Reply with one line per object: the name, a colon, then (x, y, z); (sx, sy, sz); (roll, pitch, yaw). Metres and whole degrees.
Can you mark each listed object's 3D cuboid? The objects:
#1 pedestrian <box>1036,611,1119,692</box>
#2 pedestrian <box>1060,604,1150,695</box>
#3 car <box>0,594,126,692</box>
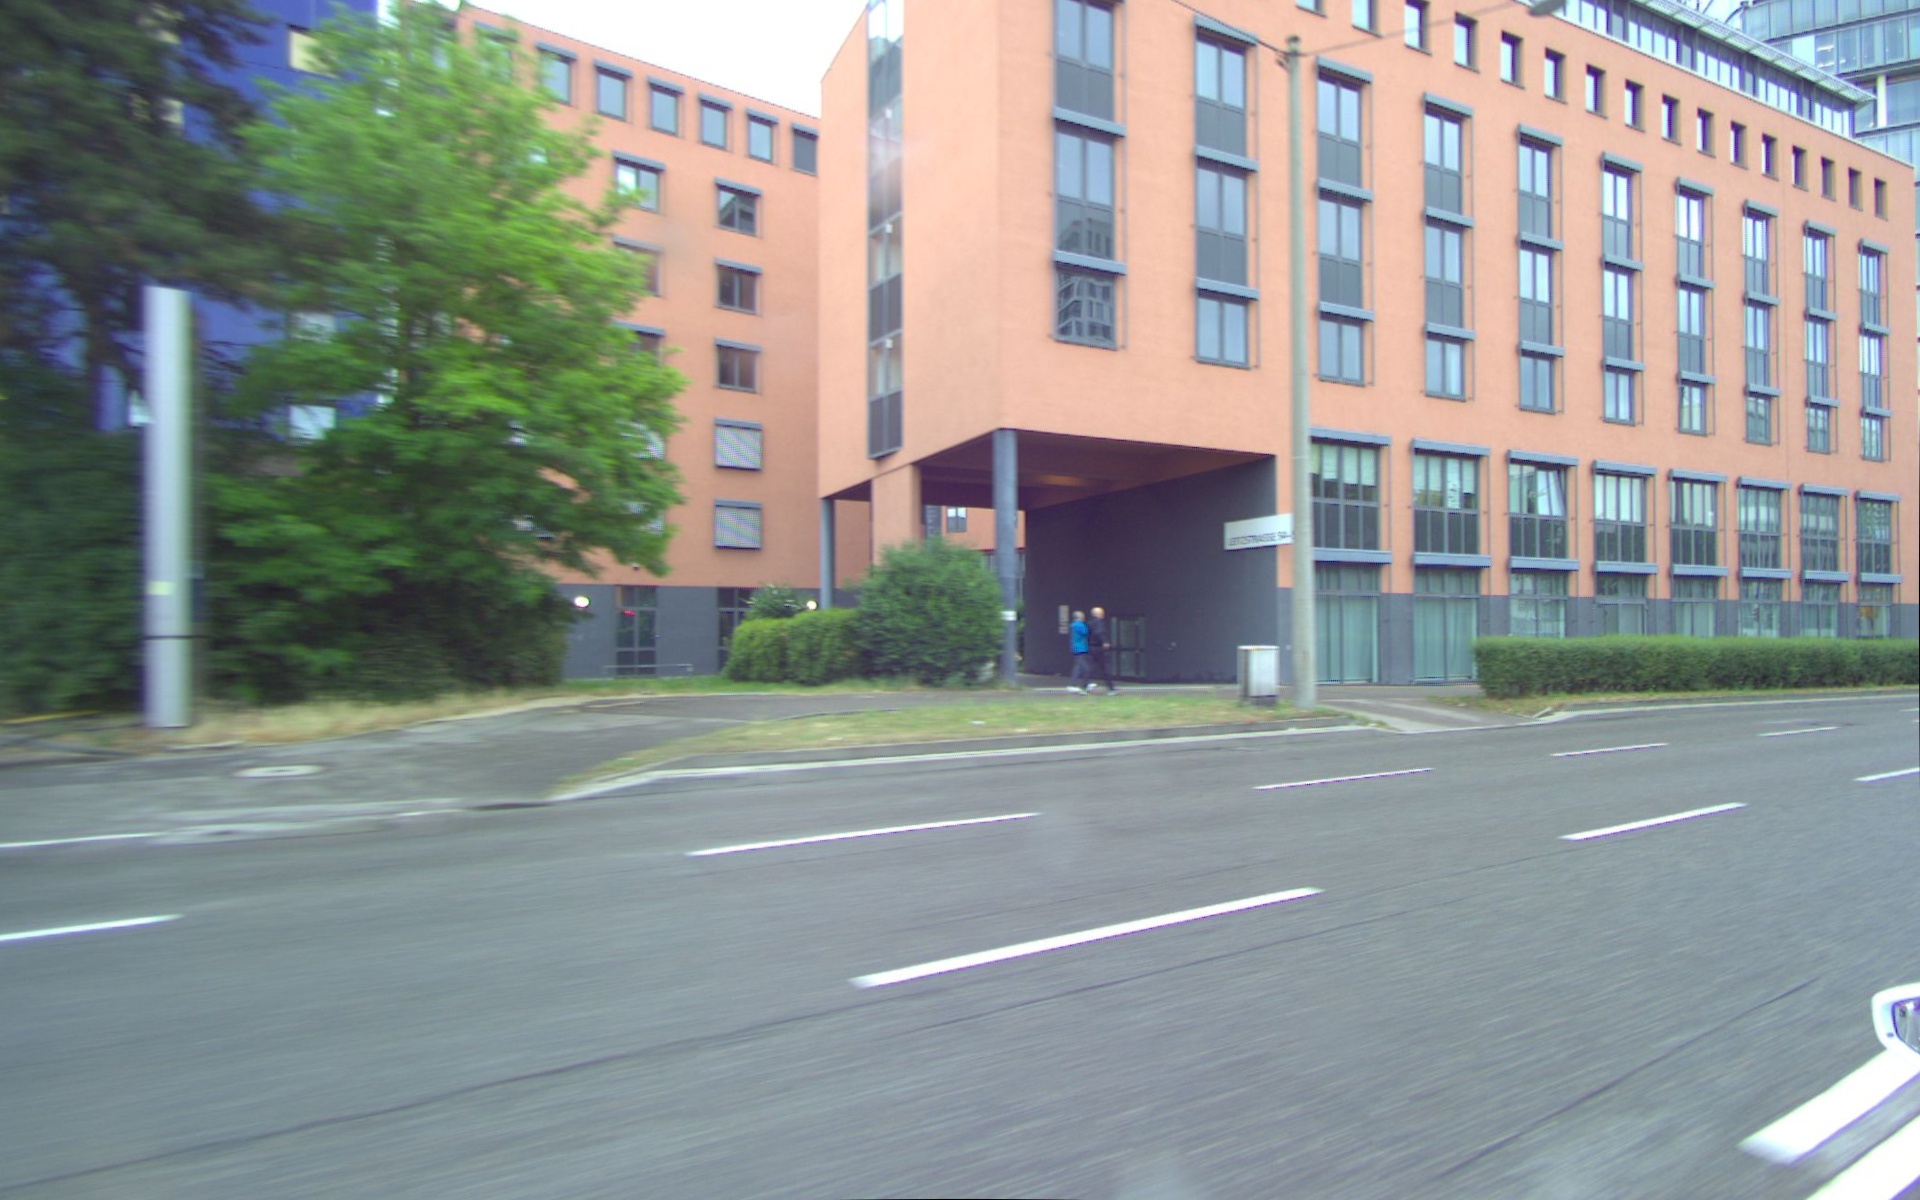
pedestrian: (2.593, 1.162, 22.158); (1.401, 1.700, 1.203); (3, -5, -26)
pedestrian: (3.062, 1.071, 21.271); (1.420, 1.847, 1.312); (3, -5, -26)
car: (-17.476, 0.799, 18.952); (1.793, 1.688, 3.400); (-1, -1, -24)
